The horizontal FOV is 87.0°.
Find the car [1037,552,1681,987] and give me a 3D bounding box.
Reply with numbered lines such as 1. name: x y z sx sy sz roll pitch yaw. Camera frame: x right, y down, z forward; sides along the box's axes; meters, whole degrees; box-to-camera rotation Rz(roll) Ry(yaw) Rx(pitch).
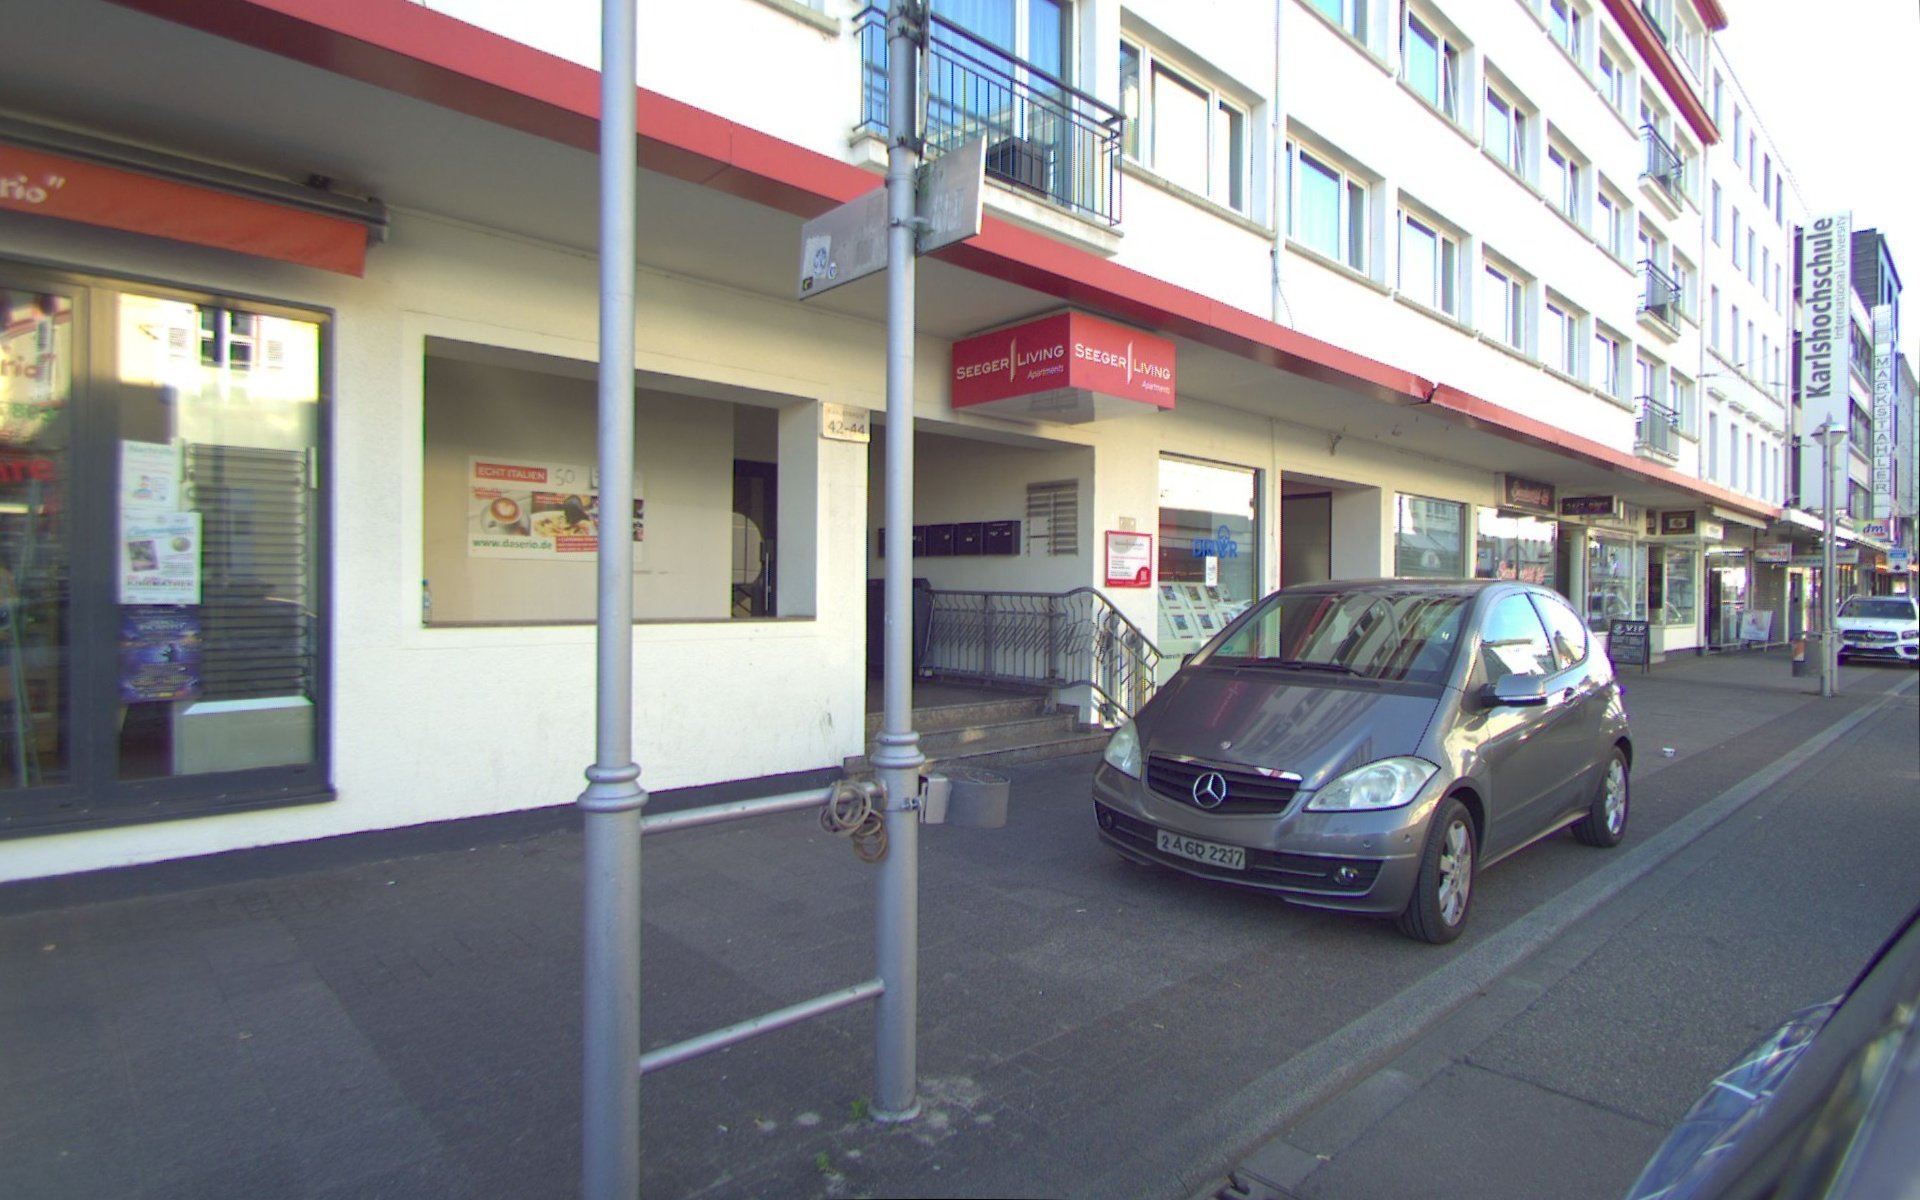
1. car: 2.423 0.567 5.649 3.893 1.588 1.780 -1 2 -42

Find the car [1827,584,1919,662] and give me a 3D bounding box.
1. car: 22.191 0.474 24.109 4.092 1.684 1.781 -1 2 -42
